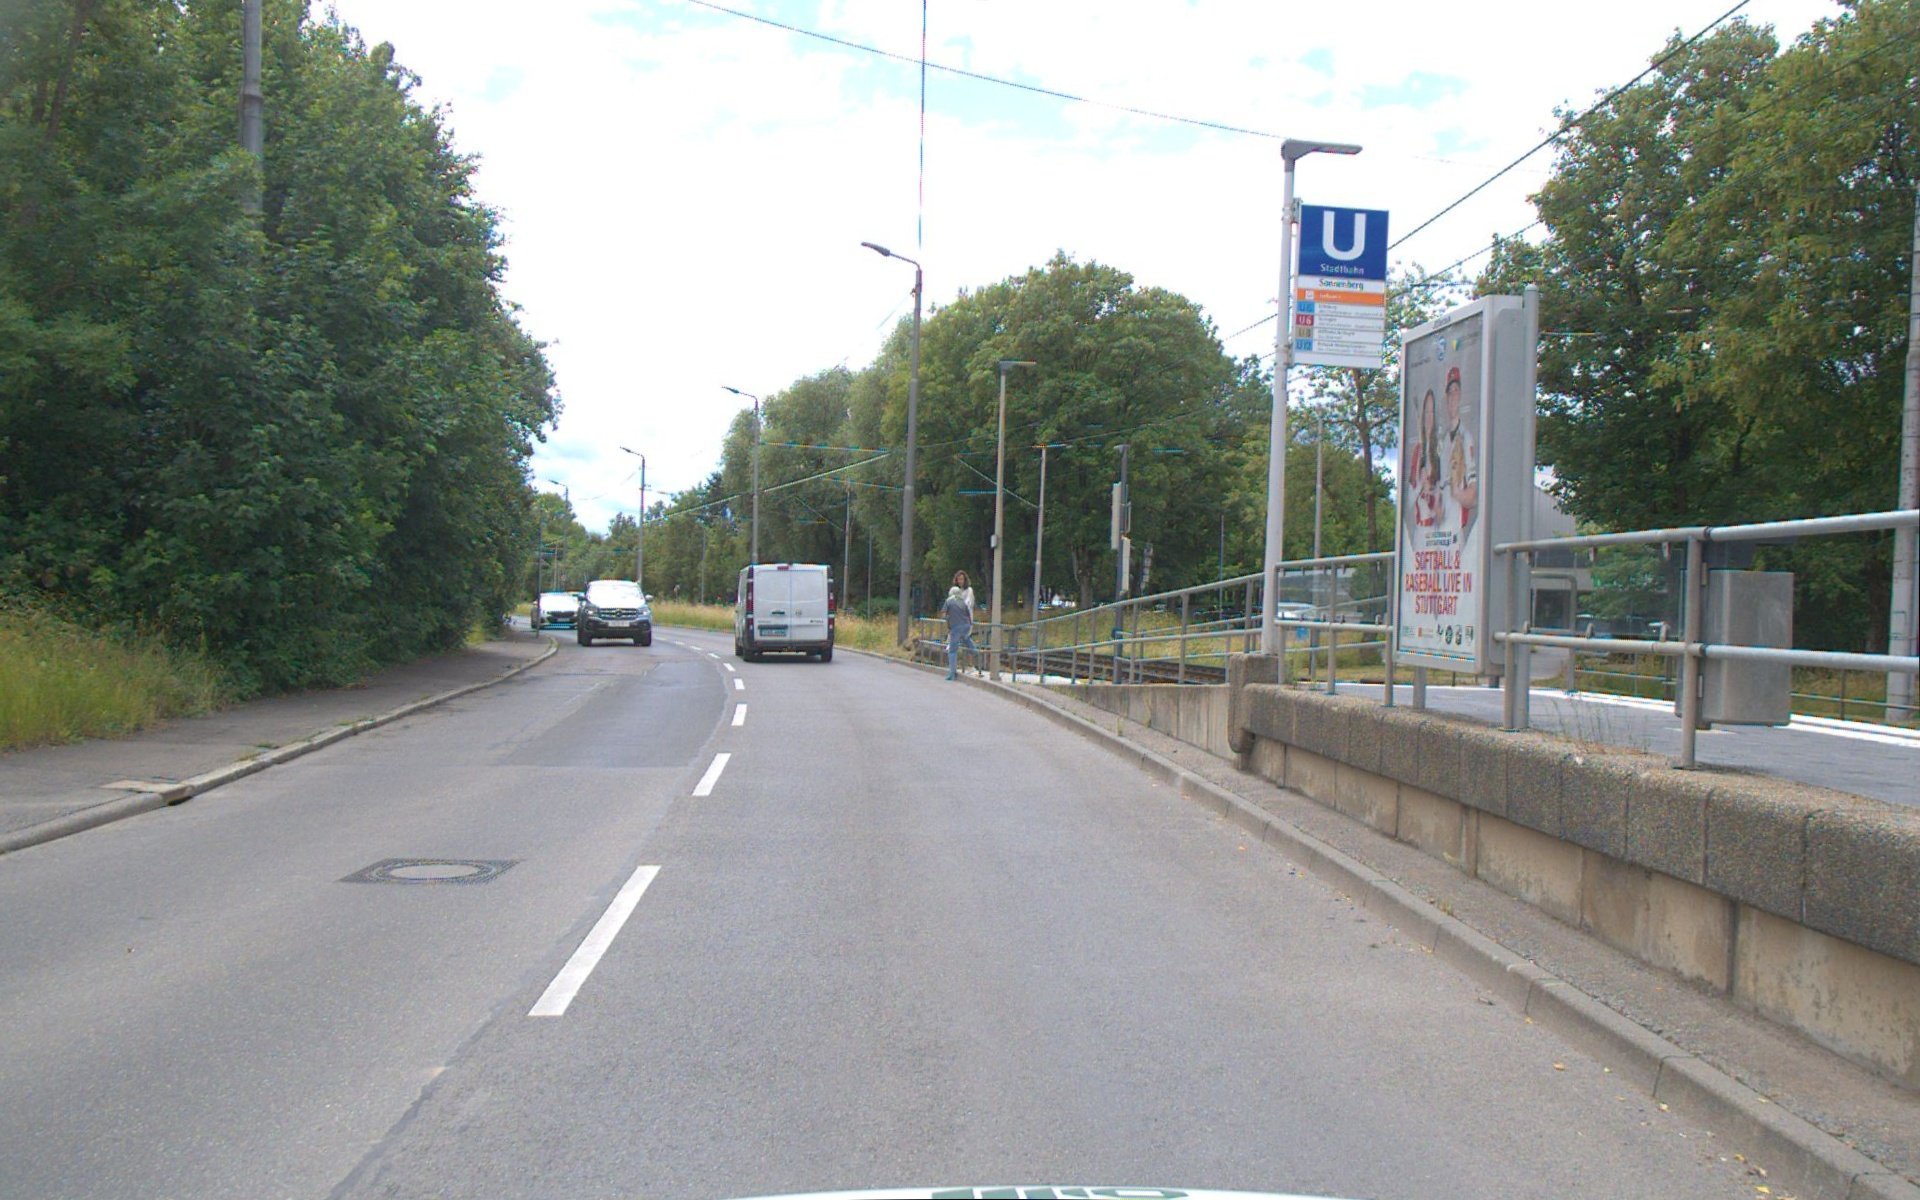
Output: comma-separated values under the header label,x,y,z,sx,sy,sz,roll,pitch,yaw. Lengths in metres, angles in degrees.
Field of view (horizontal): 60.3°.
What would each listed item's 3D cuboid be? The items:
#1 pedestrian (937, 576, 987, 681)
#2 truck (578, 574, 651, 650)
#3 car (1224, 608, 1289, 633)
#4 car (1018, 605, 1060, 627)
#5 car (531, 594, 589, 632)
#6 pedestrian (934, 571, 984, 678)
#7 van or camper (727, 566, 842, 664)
label,x,y,z,sx,sy,sz,roll,pitch,yaw
pedestrian,0.026,0.490,28.057,0.469,1.759,0.791,3,-3,-32
truck,-9.718,0.322,46.801,1.814,2.000,4.947,2,0,-10
car,18.051,1.246,100.891,1.965,1.468,4.319,2,-1,-21
car,6.300,1.271,132.102,1.963,1.730,3.978,3,-1,-19
car,-17.106,0.554,70.540,1.901,1.548,4.631,-1,0,-20
pedestrian,-0.016,0.442,29.315,0.652,1.873,0.590,3,-3,-32
van or camper,-3.772,0.304,34.886,1.909,1.930,4.270,0,-1,-13
